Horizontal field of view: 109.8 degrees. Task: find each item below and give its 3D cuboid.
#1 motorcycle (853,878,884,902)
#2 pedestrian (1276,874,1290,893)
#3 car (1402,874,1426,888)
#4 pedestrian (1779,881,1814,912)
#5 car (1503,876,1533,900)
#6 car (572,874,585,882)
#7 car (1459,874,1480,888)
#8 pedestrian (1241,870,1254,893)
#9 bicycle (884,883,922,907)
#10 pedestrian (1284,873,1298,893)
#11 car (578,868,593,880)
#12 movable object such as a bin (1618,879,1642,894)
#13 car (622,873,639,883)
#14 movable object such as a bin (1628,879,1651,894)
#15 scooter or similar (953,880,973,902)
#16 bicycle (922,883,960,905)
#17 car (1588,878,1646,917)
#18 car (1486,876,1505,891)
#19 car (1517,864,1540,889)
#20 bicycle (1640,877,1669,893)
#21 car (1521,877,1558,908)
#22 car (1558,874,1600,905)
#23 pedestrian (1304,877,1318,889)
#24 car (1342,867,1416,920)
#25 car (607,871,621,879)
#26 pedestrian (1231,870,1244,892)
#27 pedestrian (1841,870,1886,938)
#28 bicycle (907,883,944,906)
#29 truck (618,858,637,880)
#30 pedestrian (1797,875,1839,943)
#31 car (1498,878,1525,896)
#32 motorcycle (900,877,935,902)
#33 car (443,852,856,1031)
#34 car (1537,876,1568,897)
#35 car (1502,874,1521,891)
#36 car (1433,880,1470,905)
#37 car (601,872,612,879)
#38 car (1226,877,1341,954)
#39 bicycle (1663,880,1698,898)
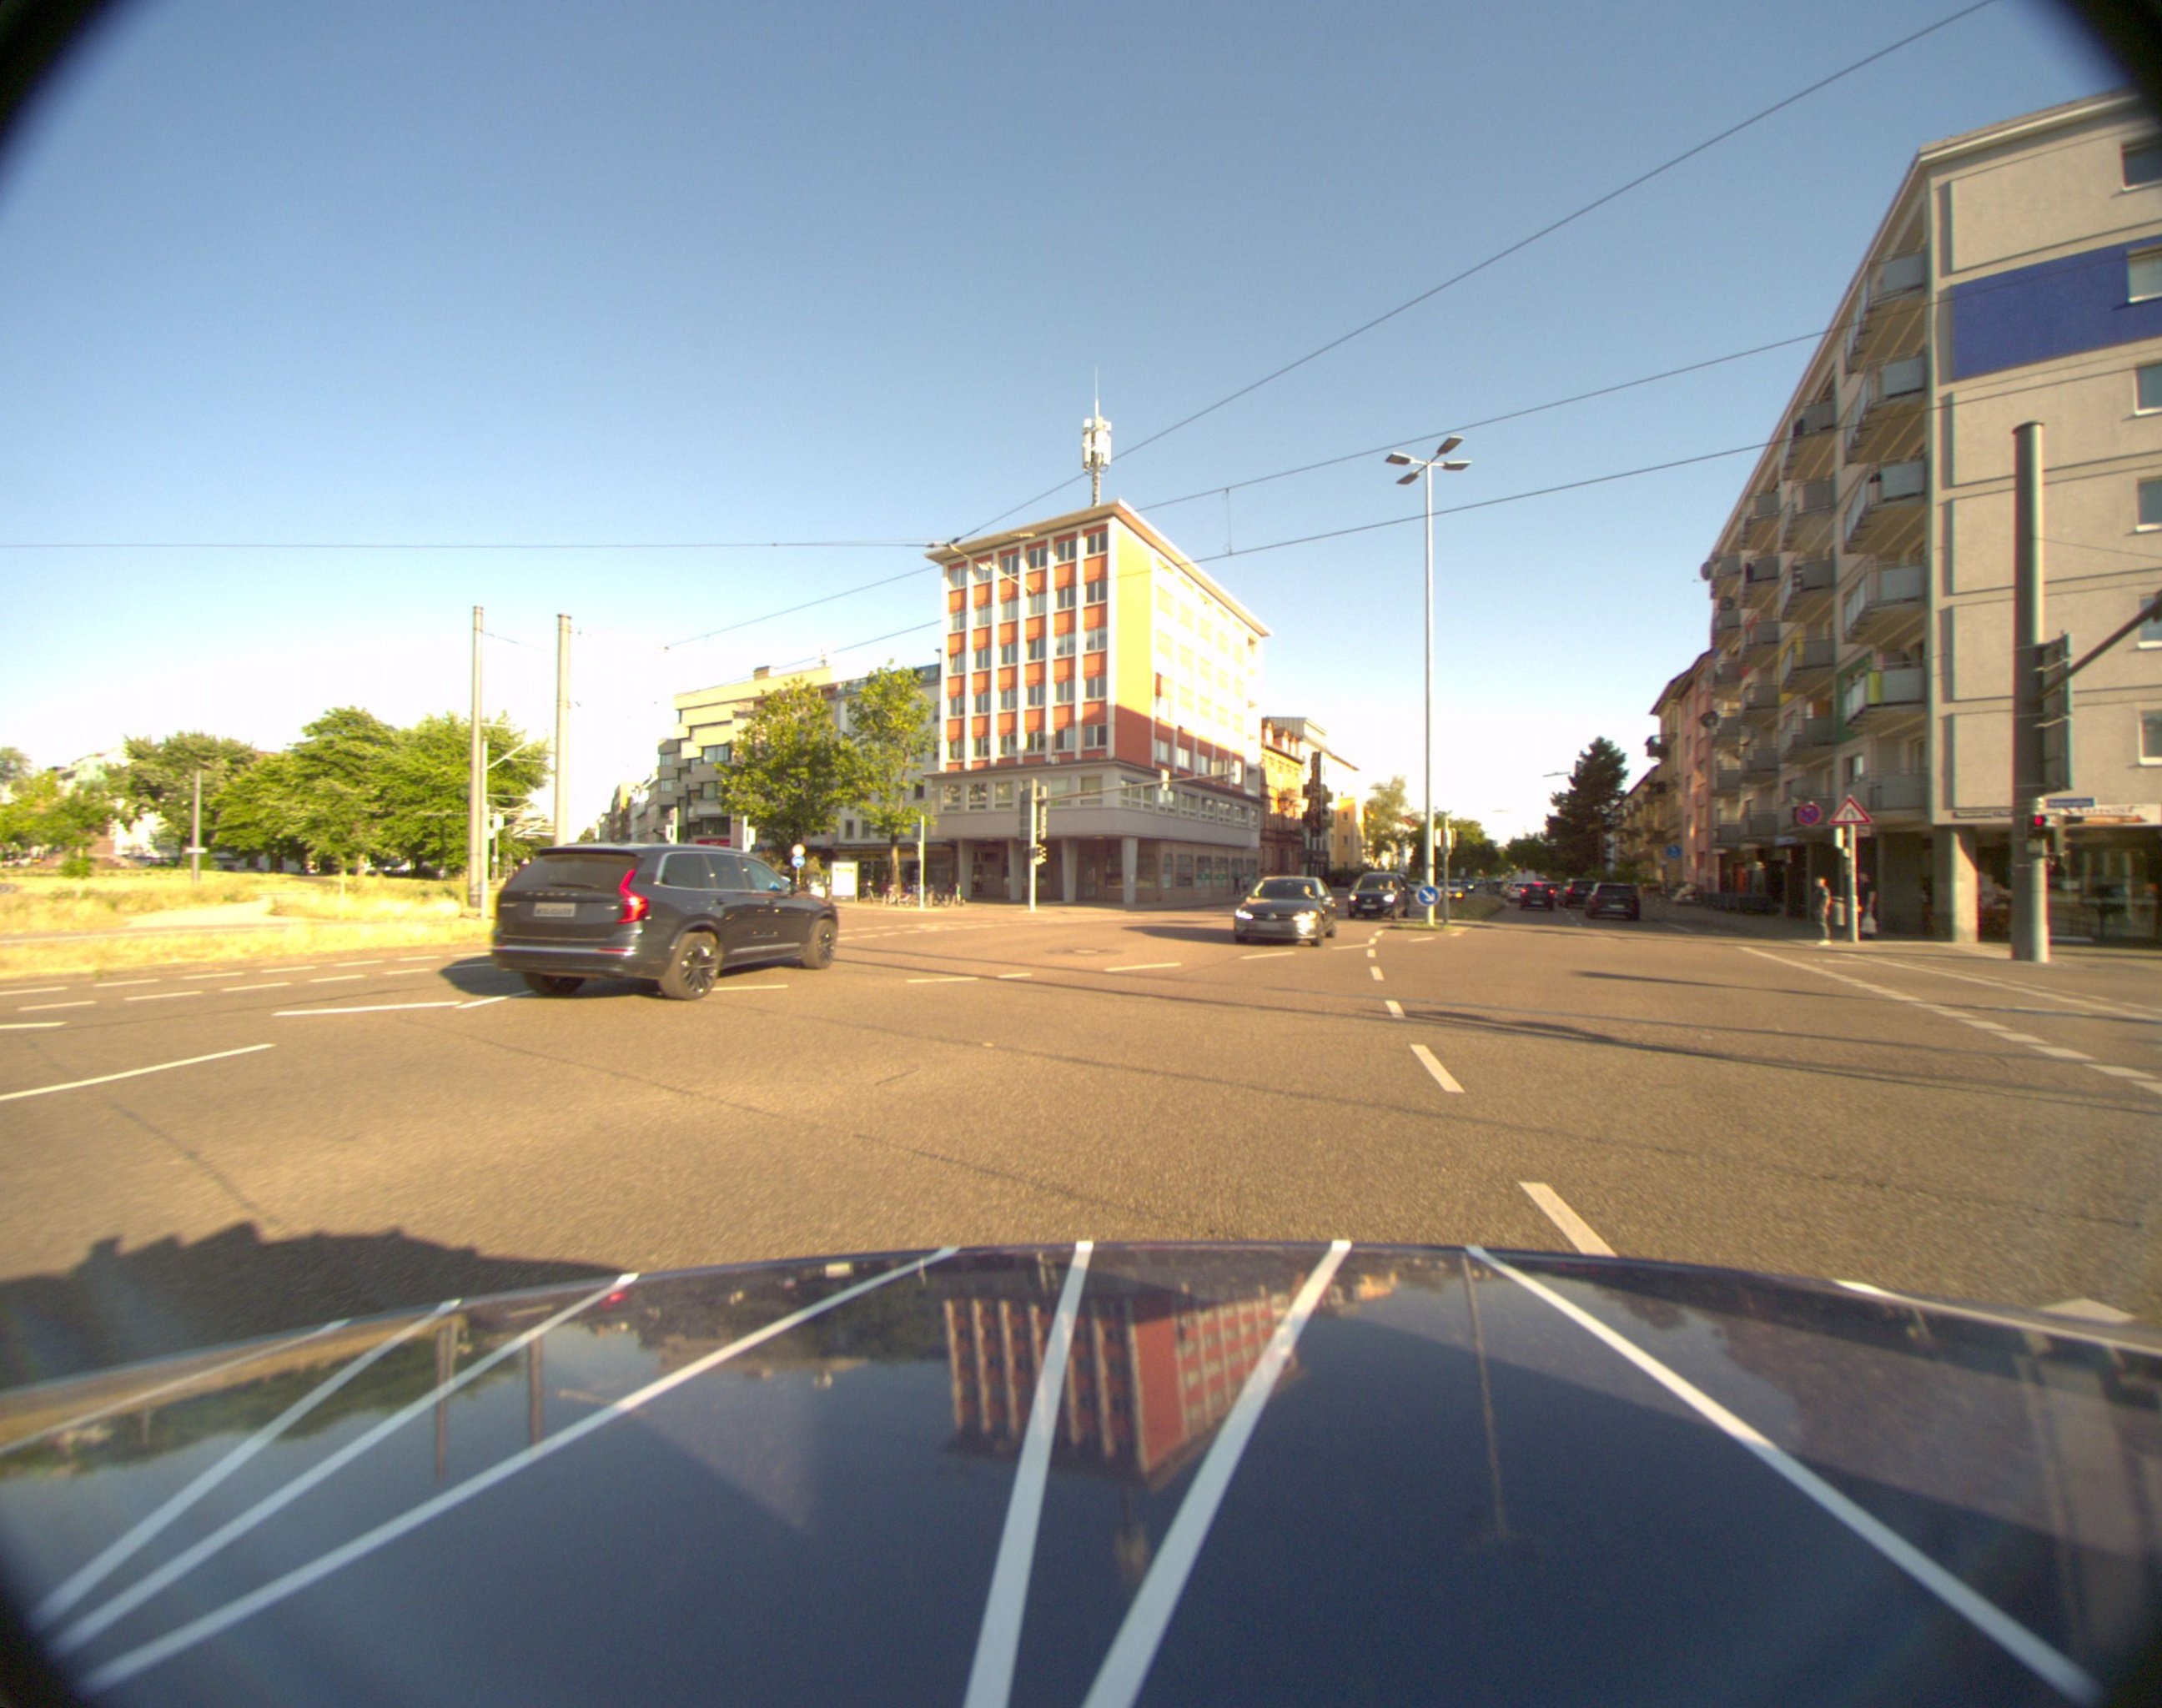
[{"bbox_3d":[-12.342,2.066,44.012,0.892,1.300,2.051,0,0,-43],"label":"motorcycle"},{"bbox_3d":[17.572,2.524,66.070,0.784,1.579,1.013,5,2,36],"label":"pedestrian"},{"bbox_3d":[37.936,3.086,86.441,1.902,1.508,4.084,0,-1,33],"label":"car"},{"bbox_3d":[31.580,1.871,33.559,0.972,1.338,0.885,0,-1,32],"label":"pedestrian"},{"bbox_3d":[30.913,2.377,53.791,1.676,1.535,3.814,1,-1,28],"label":"car"},{"bbox_3d":[-85.341,4.114,129.008,1.681,1.316,3.767,1,-1,-37],"label":"car"},{"bbox_3d":[44.826,3.096,87.635,1.903,1.531,4.009,0,-1,32],"label":"car"},{"bbox_3d":[12.733,2.082,58.196,0.666,1.715,1.013,0,-1,33],"label":"pedestrian"},{"bbox_3d":[-9.126,2.072,38.885,1.972,1.108,0.595,2,0,30],"label":"bicycle"},{"bbox_3d":[18.073,2.493,65.510,0.736,1.579,1.013,5,2,36],"label":"pedestrian"},{"bbox_3d":[-75.907,2.987,116.459,1.653,1.803,3.480,1,-1,-37],"label":"car"},{"bbox_3d":[44.726,2.639,61.916,1.292,1.225,0.929,0,-1,-8],"label":"movable object such as a bin"},{"bbox_3d":[-63.566,3.315,107.148,1.744,1.375,3.614,1,-1,-37],"label":"car"},{"bbox_3d":[44.819,2.613,60.978,1.193,1.225,0.849,0,-1,-8],"label":"movable object such as a bin"},{"bbox_3d":[-7.044,2.223,45.386,0.485,1.228,1.557,1,0,-39],"label":"scooter or similar"},{"bbox_3d":[-7.625,2.163,41.396,2.056,1.108,0.595,2,0,29],"label":"bicycle"},{"bbox_3d":[23.131,1.848,32.887,1.795,1.556,4.157,1,-2,32],"label":"car"},{"bbox_3d":[45.720,3.199,83.882,1.676,1.535,4.111,2,-1,27],"label":"car"},{"bbox_3d":[51.475,2.589,87.292,2.131,2.740,4.476,1,0,31],"label":"car"},{"bbox_3d":[45.345,2.442,60.083,1.776,1.183,0.474,0,-1,30],"label":"bicycle"},{"bbox_3d":[24.673,2.015,40.839,1.578,1.535,3.485,1,-1,32],"label":"car"},{"bbox_3d":[29.782,2.107,45.550,1.816,1.700,4.796,1,-1,30],"label":"car"},{"bbox_3d":[21.907,2.719,72.399,1.098,1.129,0.926,0,-1,30],"label":"pedestrian"},{"bbox_3d":[11.566,1.455,29.347,1.891,1.843,4.476,1,-1,31],"label":"car"},{"bbox_3d":[-88.974,4.028,144.740,1.810,1.585,3.668,1,-1,-37],"label":"car"},{"bbox_3d":[12.074,2.069,58.692,0.666,1.715,1.013,0,-1,32],"label":"pedestrian"},{"bbox_3d":[21.805,1.384,21.187,0.609,1.863,0.814,-3,-3,33],"label":"pedestrian"},{"bbox_3d":[-8.269,2.123,40.303,2.001,1.108,0.595,2,0,30],"label":"bicycle"},{"bbox_3d":[-67.792,2.281,113.638,1.744,3.200,6.390,1,-1,-37],"label":"truck"},{"bbox_3d":[19.920,1.474,20.557,0.609,1.775,0.814,-3,-3,36],"label":"pedestrian"},{"bbox_3d":[37.977,2.907,67.026,1.709,1.417,4.110,2,-1,25],"label":"car"},{"bbox_3d":[-9.533,2.067,44.388,0.842,1.384,2.270,-1,-2,20],"label":"motorcycle"},{"bbox_3d":[-4.979,0.846,9.897,1.997,1.713,5.034,0,0,8],"label":"car"},{"bbox_3d":[36.221,2.484,58.456,1.676,1.535,3.645,2,-1,27],"label":"car"},{"bbox_3d":[43.164,2.873,76.185,1.536,1.583,2.814,1,-1,30],"label":"car"},{"bbox_3d":[25.553,2.622,52.382,1.903,1.531,4.009,0,-1,32],"label":"car"},{"bbox_3d":[-94.737,4.250,151.661,1.499,1.366,3.415,1,-1,-37],"label":"car"},{"bbox_3d":[4.685,1.265,17.127,1.767,1.450,4.278,0,-1,25],"label":"car"},{"bbox_3d":[40.044,2.315,50.746,1.776,1.183,0.474,0,-1,30],"label":"bicycle"}]
